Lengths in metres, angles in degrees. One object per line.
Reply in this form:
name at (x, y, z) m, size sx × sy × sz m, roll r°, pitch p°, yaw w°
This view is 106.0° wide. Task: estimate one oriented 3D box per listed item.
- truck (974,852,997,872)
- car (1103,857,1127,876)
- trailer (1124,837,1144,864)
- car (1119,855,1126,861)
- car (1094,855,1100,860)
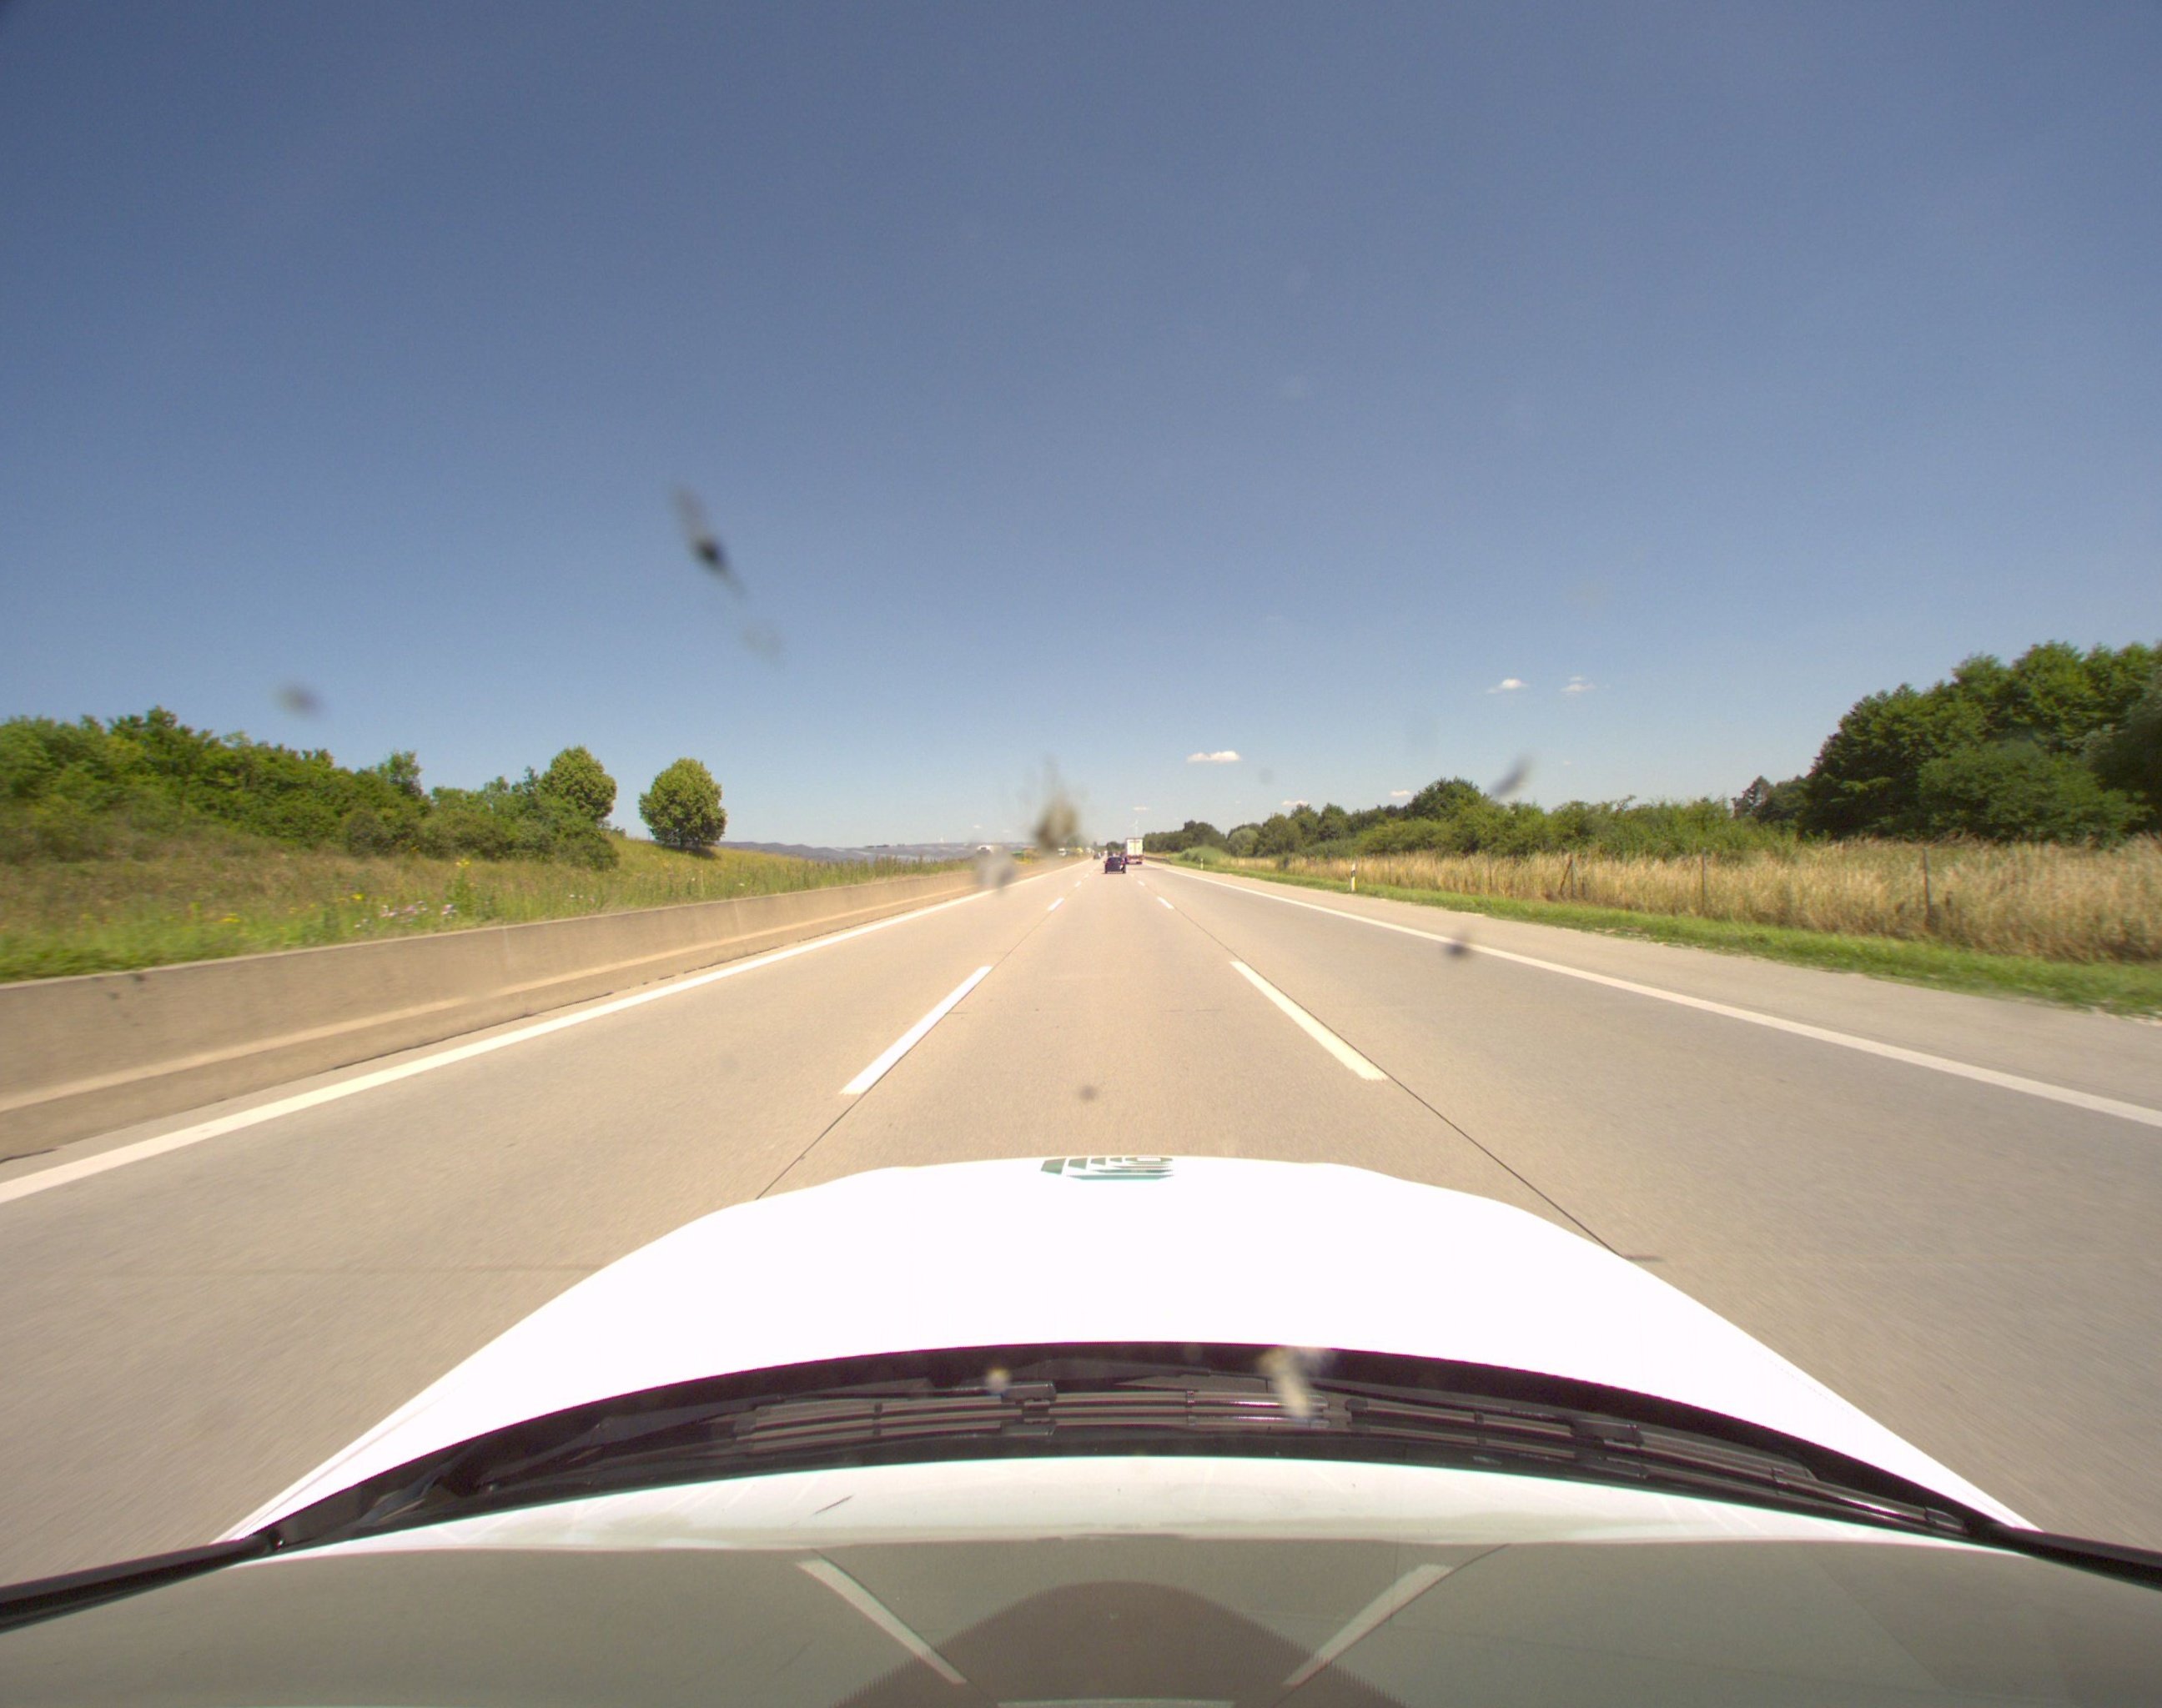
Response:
truck at (-15.684, 1.342, 134.267) m, size 2.822 × 3.157 × 5.829 m, roll -2°, pitch -1°, yaw 2°
car at (2.873, 1.044, 69.534) m, size 1.903 × 1.492 × 4.193 m, roll 0°, pitch 0°, yaw 1°
trailer at (8.456, -0.540, 130.217) m, size 2.841 × 4.042 × 12.720 m, roll -1°, pitch 0°, yaw 2°
car at (12.578, 1.227, 246.183) m, size 1.818 × 1.907 × 4.005 m, roll -1°, pitch 0°, yaw 5°
car at (4.376, 0.977, 221.462) m, size 1.649 × 1.196 × 3.962 m, roll 2°, pitch 0°, yaw 2°
